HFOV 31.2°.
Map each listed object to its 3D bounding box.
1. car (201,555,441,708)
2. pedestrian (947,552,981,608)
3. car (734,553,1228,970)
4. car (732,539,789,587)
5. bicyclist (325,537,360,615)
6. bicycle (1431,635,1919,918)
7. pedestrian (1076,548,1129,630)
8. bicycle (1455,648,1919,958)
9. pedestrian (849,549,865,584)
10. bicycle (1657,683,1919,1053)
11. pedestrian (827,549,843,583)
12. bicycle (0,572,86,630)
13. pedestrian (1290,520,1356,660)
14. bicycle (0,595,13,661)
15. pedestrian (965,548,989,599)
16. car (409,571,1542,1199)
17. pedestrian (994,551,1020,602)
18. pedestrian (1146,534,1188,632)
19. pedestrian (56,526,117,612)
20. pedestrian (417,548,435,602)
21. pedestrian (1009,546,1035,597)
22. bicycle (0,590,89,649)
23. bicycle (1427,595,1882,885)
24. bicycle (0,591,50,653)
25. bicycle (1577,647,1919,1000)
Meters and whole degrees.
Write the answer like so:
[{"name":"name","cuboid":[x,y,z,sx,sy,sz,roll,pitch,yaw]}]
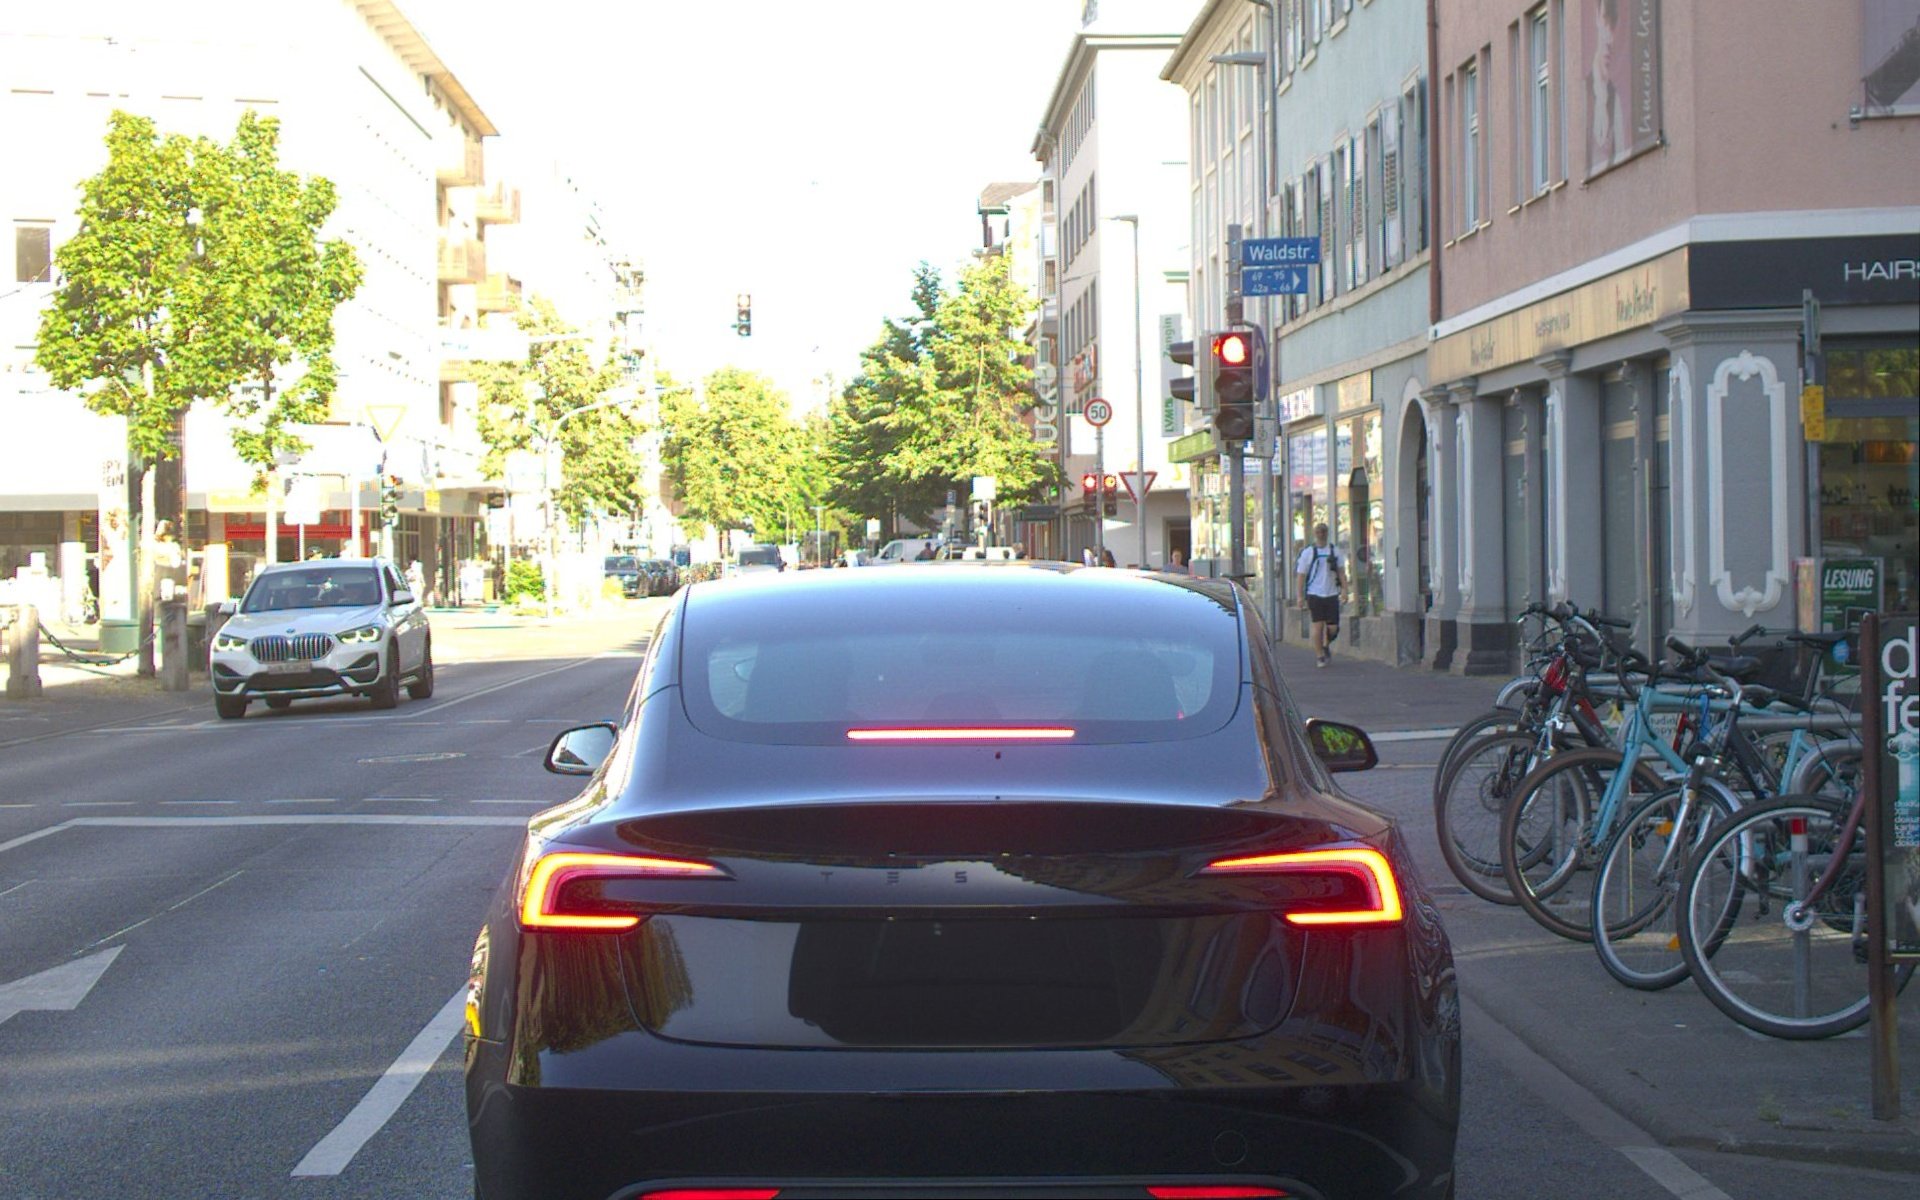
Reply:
[{"name":"car","cuboid":[-6.657,0.293,36.179,1.789,1.455,3.757,-2,1,0]},{"name":"pedestrian","cuboid":[0.119,-0.603,103.798,0.715,1.689,0.851,0,1,-28]},{"name":"car","cuboid":[0.005,0.536,13.838,1.718,1.420,3.758,0,1,-2]},{"name":"car","cuboid":[-7.126,-1.328,123.095,1.787,1.640,4.403,1,1,-1]},{"name":"bicyclist","cuboid":[-11.878,-0.462,66.144,0.522,1.498,0.476,1,0,-26]},{"name":"bicycle","cuboid":[2.842,0.691,13.629,1.873,1.034,0.547,-2,0,5]},{"name":"pedestrian","cuboid":[2.869,-0.221,69.274,0.754,1.626,0.956,1,0,-18]},{"name":"bicycle","cuboid":[2.770,0.723,12.428,1.873,1.034,0.533,-2,0,4]},{"name":"pedestrian","cuboid":[-6.057,-1.968,201.956,0.930,2.007,0.938,1,0,-1]},{"name":"bicycle","cuboid":[3.013,0.758,9.995,1.873,1.034,0.353,-2,0,6]},{"name":"pedestrian","cuboid":[-7.346,-1.987,202.042,0.930,2.007,0.938,1,0,-1]},{"name":"bicycle","cuboid":[-21.047,0.016,77.873,2.361,1.291,0.513,1,0,-26]},{"name":"pedestrian","cuboid":[4.621,-0.131,43.852,0.750,1.759,0.836,2,0,4]},{"name":"bicycle","cuboid":[-14.735,0.393,49.796,1.864,0.931,0.606,1,0,-1]},{"name":"pedestrian","cuboid":[0.482,-0.745,95.720,0.472,1.412,0.522,0,1,-31]},{"name":"car","cuboid":[0.003,0.660,7.536,1.822,1.437,4.000,0,1,-1]},{"name":"pedestrian","cuboid":[1.306,-0.649,95.284,0.521,1.417,0.479,1,0,-30]},{"name":"pedestrian","cuboid":[3.688,-0.307,61.245,0.706,1.736,0.540,0,1,-1]},{"name":"pedestrian","cuboid":[-20.659,-0.732,81.325,1.052,2.007,1.060,0,1,-36]},{"name":"pedestrian","cuboid":[-14.563,-0.687,93.737,0.459,1.455,0.518,0,1,-5]},{"name":"pedestrian","cuboid":[1.735,-0.804,95.830,0.521,1.417,0.479,1,0,-30]},{"name":"bicycle","cuboid":[-14.839,0.306,54.591,1.864,0.931,0.606,0,1,-1]},{"name":"bicycle","cuboid":[2.958,0.595,14.751,1.828,1.165,0.505,-2,0,5]},{"name":"bicycle","cuboid":[-14.811,0.331,52.143,1.864,0.931,0.606,0,1,-1]},{"name":"bicycle","cuboid":[2.988,0.705,11.152,1.873,1.084,0.414,-2,0,4]}]
